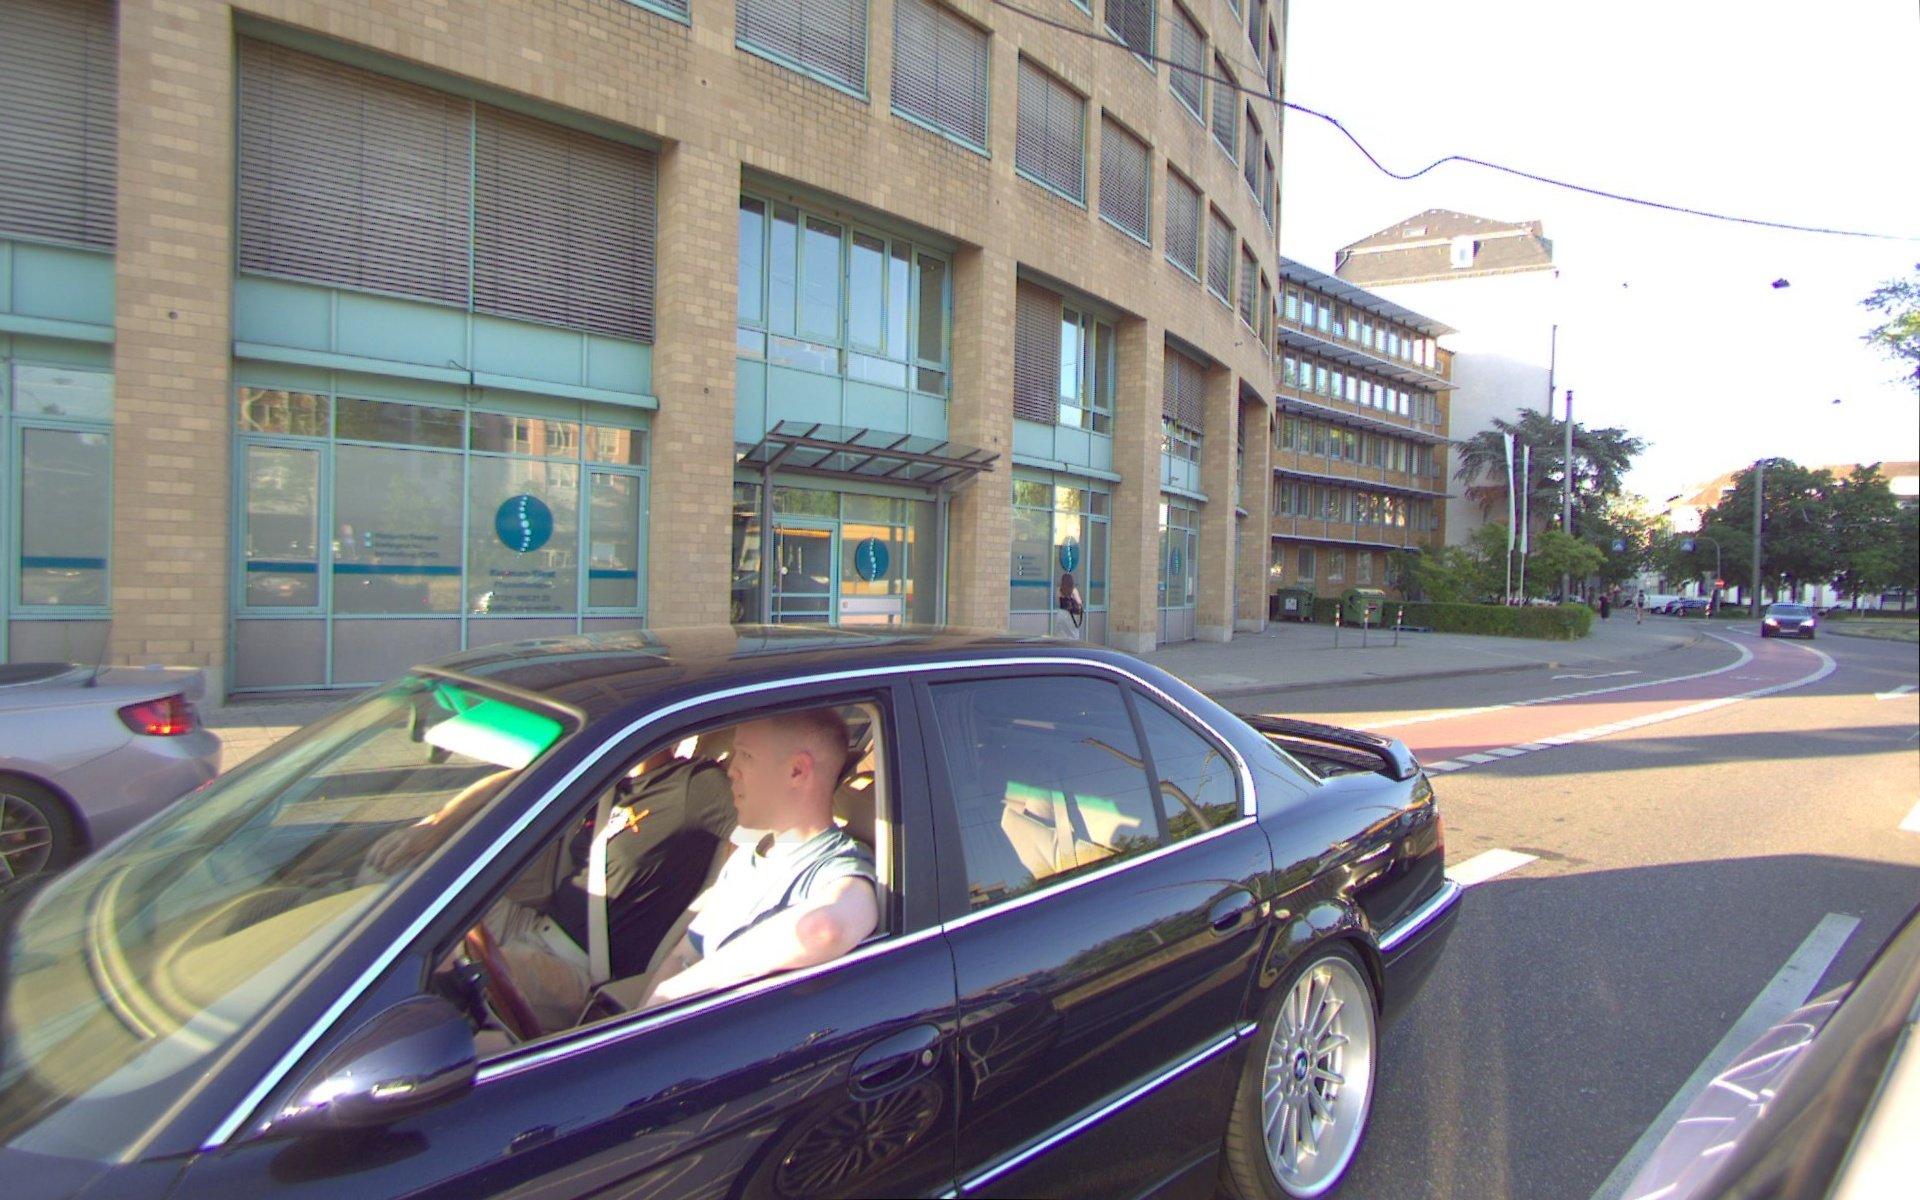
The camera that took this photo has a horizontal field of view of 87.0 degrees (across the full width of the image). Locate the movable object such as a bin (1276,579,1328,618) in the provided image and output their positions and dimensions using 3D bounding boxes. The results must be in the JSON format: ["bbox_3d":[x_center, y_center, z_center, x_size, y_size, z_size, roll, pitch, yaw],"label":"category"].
[{"bbox_3d":[13.349,-0.076,39.499,1.310,1.477,1.425,0,1,-43],"label":"movable object such as a bin"}]

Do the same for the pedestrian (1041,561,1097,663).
[{"bbox_3d":[1.878,0.188,17.373,0.702,1.702,0.626,0,1,-44],"label":"pedestrian"}]

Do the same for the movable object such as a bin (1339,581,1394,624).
[{"bbox_3d":[14.832,0.076,36.918,1.311,1.477,1.424,0,1,-45],"label":"movable object such as a bin"}]

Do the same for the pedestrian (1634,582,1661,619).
[{"bbox_3d":[36.697,0.017,54.041,0.900,1.918,1.119,1,1,19],"label":"pedestrian"}]

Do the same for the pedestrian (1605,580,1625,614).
[{"bbox_3d":[35.598,-0.154,54.982,0.711,1.830,0.728,0,1,-41],"label":"pedestrian"}]

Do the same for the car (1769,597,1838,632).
[{"bbox_3d":[35.932,0.575,43.079,3.932,1.405,1.756,0,0,-42],"label":"car"}]

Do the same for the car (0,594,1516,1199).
[{"bbox_3d":[-0.715,0.702,2.322,4.656,1.402,1.997,0,1,-41],"label":"car"}]

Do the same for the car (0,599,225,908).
[{"bbox_3d":[-5.895,0.701,4.478,4.153,1.403,1.746,0,0,-41],"label":"car"}]
